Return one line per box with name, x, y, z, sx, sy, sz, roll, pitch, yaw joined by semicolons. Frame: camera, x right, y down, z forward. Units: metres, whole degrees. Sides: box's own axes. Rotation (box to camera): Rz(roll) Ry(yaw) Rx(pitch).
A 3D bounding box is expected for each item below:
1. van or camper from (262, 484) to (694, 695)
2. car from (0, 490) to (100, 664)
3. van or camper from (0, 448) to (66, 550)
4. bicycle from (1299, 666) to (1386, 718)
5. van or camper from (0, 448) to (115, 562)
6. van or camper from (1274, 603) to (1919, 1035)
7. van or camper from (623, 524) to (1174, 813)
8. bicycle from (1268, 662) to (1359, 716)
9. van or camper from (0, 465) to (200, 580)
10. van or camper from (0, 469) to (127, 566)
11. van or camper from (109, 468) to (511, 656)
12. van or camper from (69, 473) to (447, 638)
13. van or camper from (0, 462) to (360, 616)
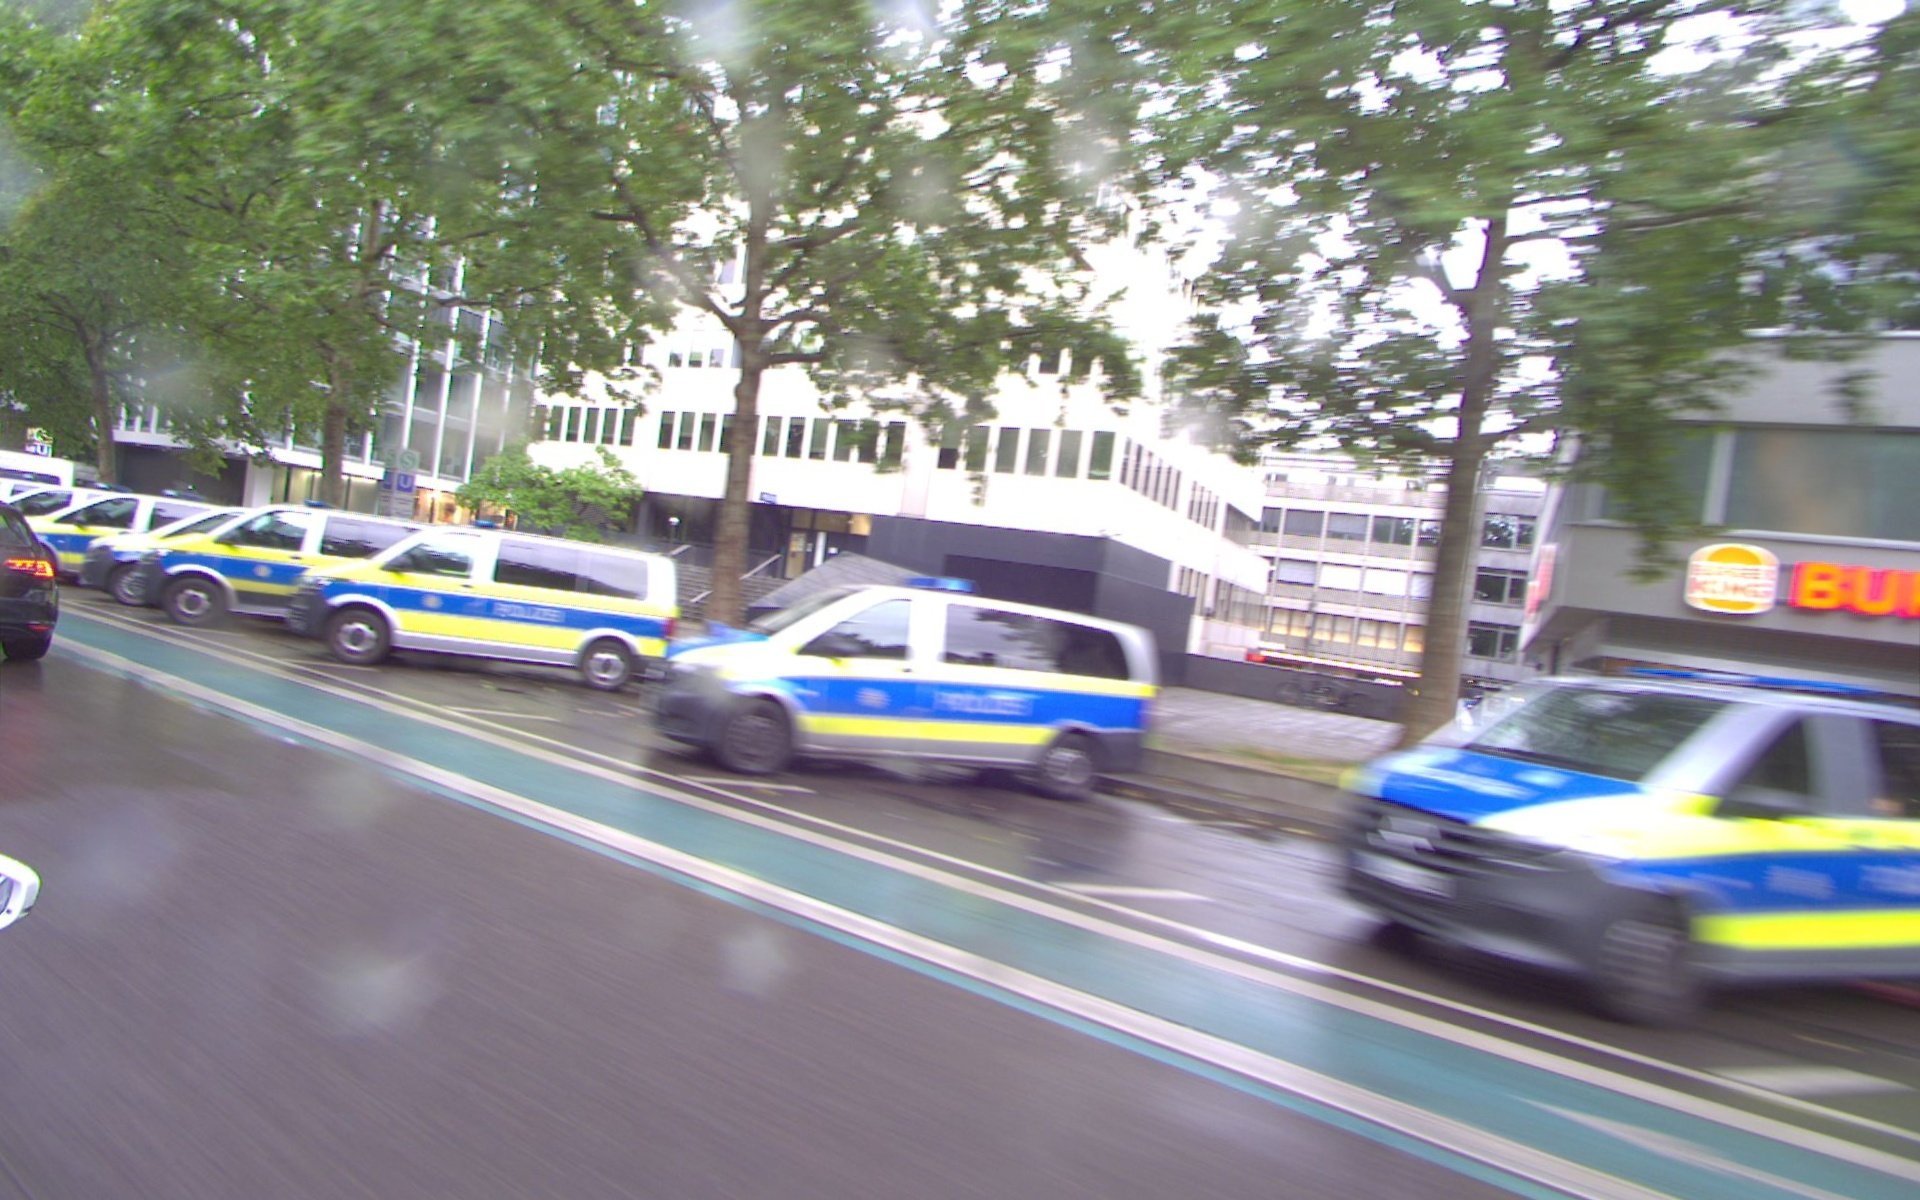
van or camper;-6.284;-0.062;13.693;4.790;2.021;1.859;8;-1;-22
car;-9.819;-0.423;9.176;3.933;1.430;1.768;7;0;31
van or camper;-29.295;-3.223;28.166;5.738;2.709;2.137;8;-1;-21
bicycle;11.385;2.734;29.977;2.248;1.186;0.688;7;-1;29
van or camper;-26.417;-2.783;26.548;5.737;2.712;1.989;8;0;-23
van or camper;4.784;1.391;6.532;4.881;2.014;1.994;9;-2;-21
van or camper;-0.617;0.751;10.212;5.023;2.042;1.987;9;-2;-22
bicycle;10.145;2.554;28.920;2.249;1.187;0.687;7;0;32
van or camper;-20.830;-1.852;22.878;5.145;2.014;1.990;9;-2;-24
van or camper;-24.006;-2.206;24.688;4.951;2.037;1.990;8;-2;-23
van or camper;-9.683;-0.484;15.557;4.732;2.034;1.990;8;-1;-22
van or camper;-11.889;-0.683;17.565;4.964;2.019;1.988;8;-1;-26
van or camper;-14.902;-1.083;19.563;5.039;2.049;2.096;8;-1;-21
